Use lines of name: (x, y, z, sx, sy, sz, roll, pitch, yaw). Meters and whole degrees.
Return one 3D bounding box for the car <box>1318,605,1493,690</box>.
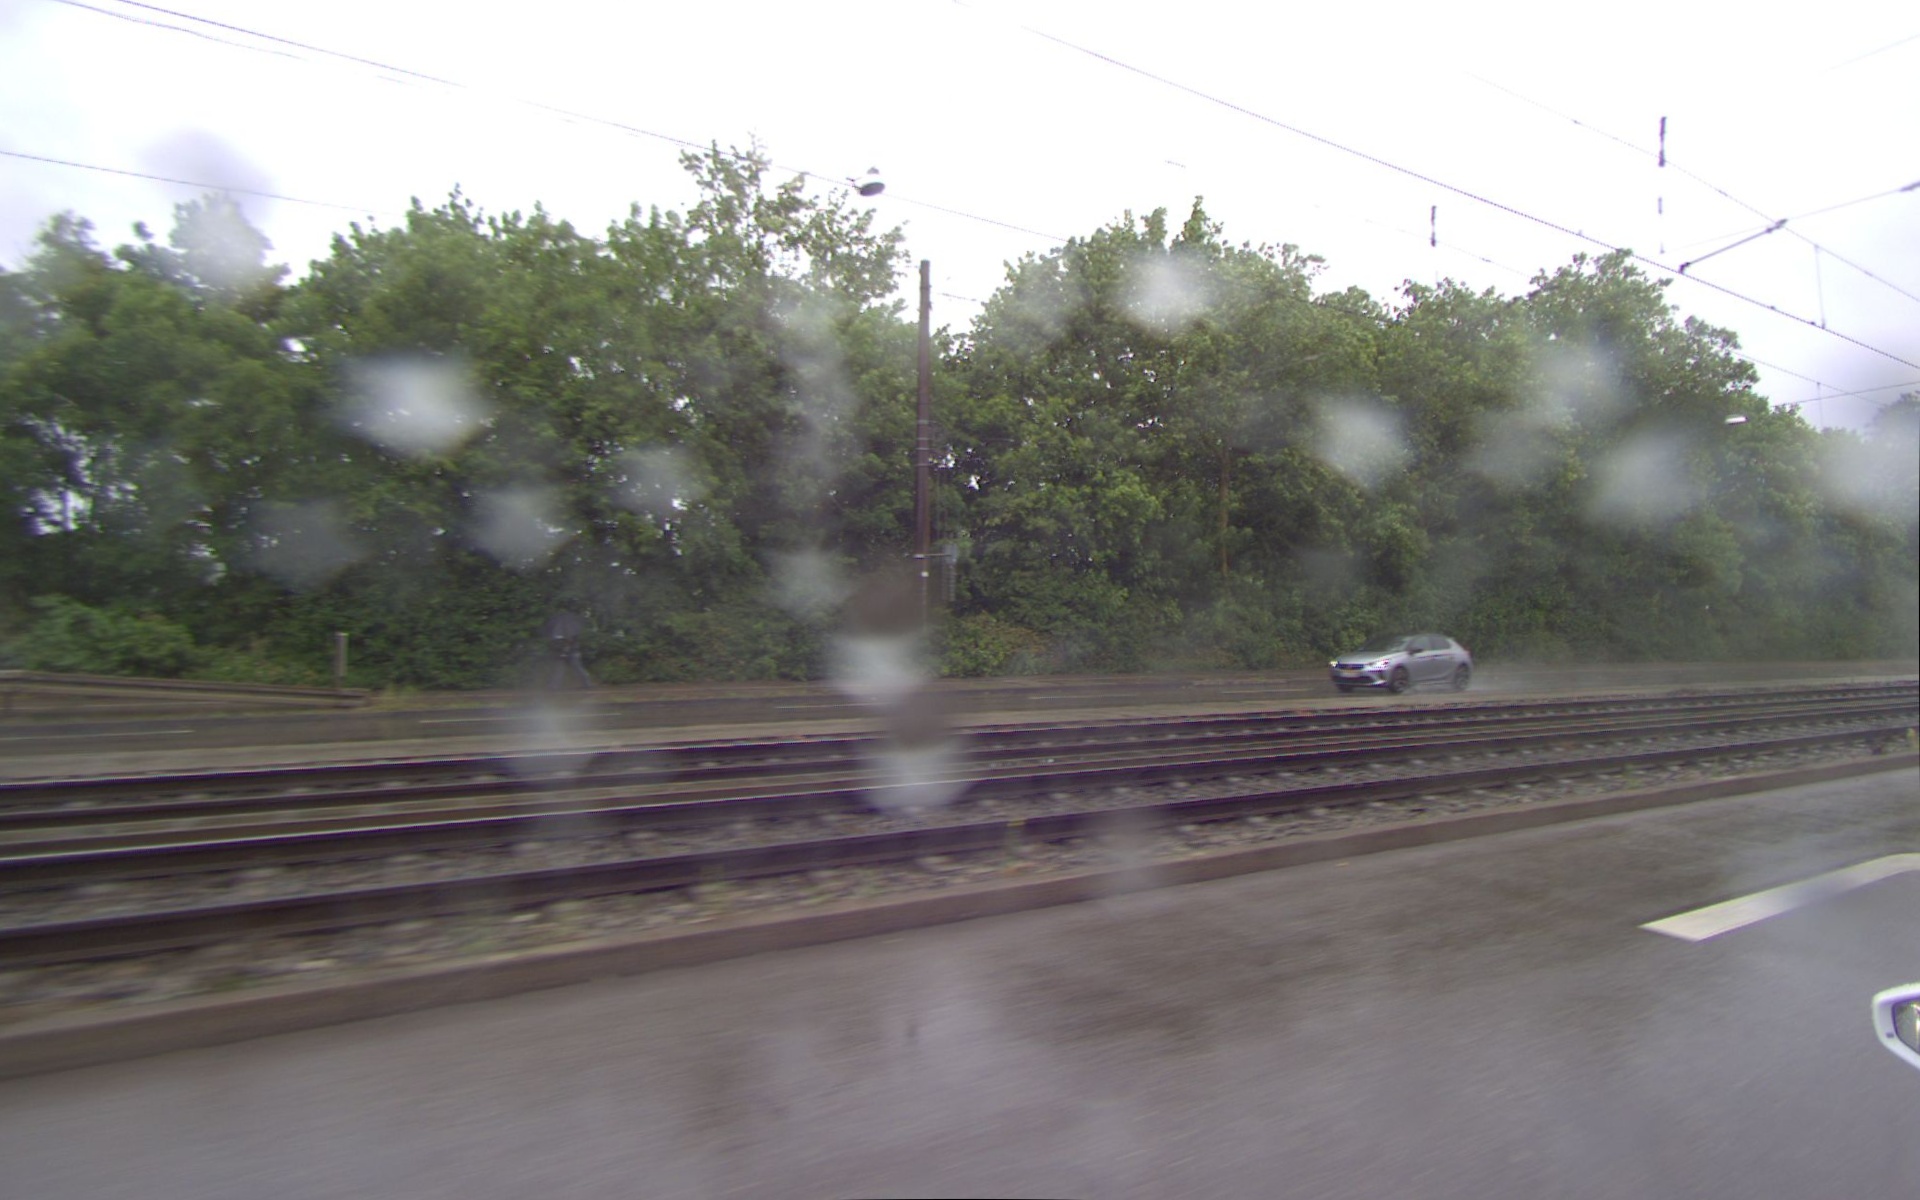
car: (11.097, 1.139, 24.977, 3.954, 1.807, 1.983, 1, 4, -31)
